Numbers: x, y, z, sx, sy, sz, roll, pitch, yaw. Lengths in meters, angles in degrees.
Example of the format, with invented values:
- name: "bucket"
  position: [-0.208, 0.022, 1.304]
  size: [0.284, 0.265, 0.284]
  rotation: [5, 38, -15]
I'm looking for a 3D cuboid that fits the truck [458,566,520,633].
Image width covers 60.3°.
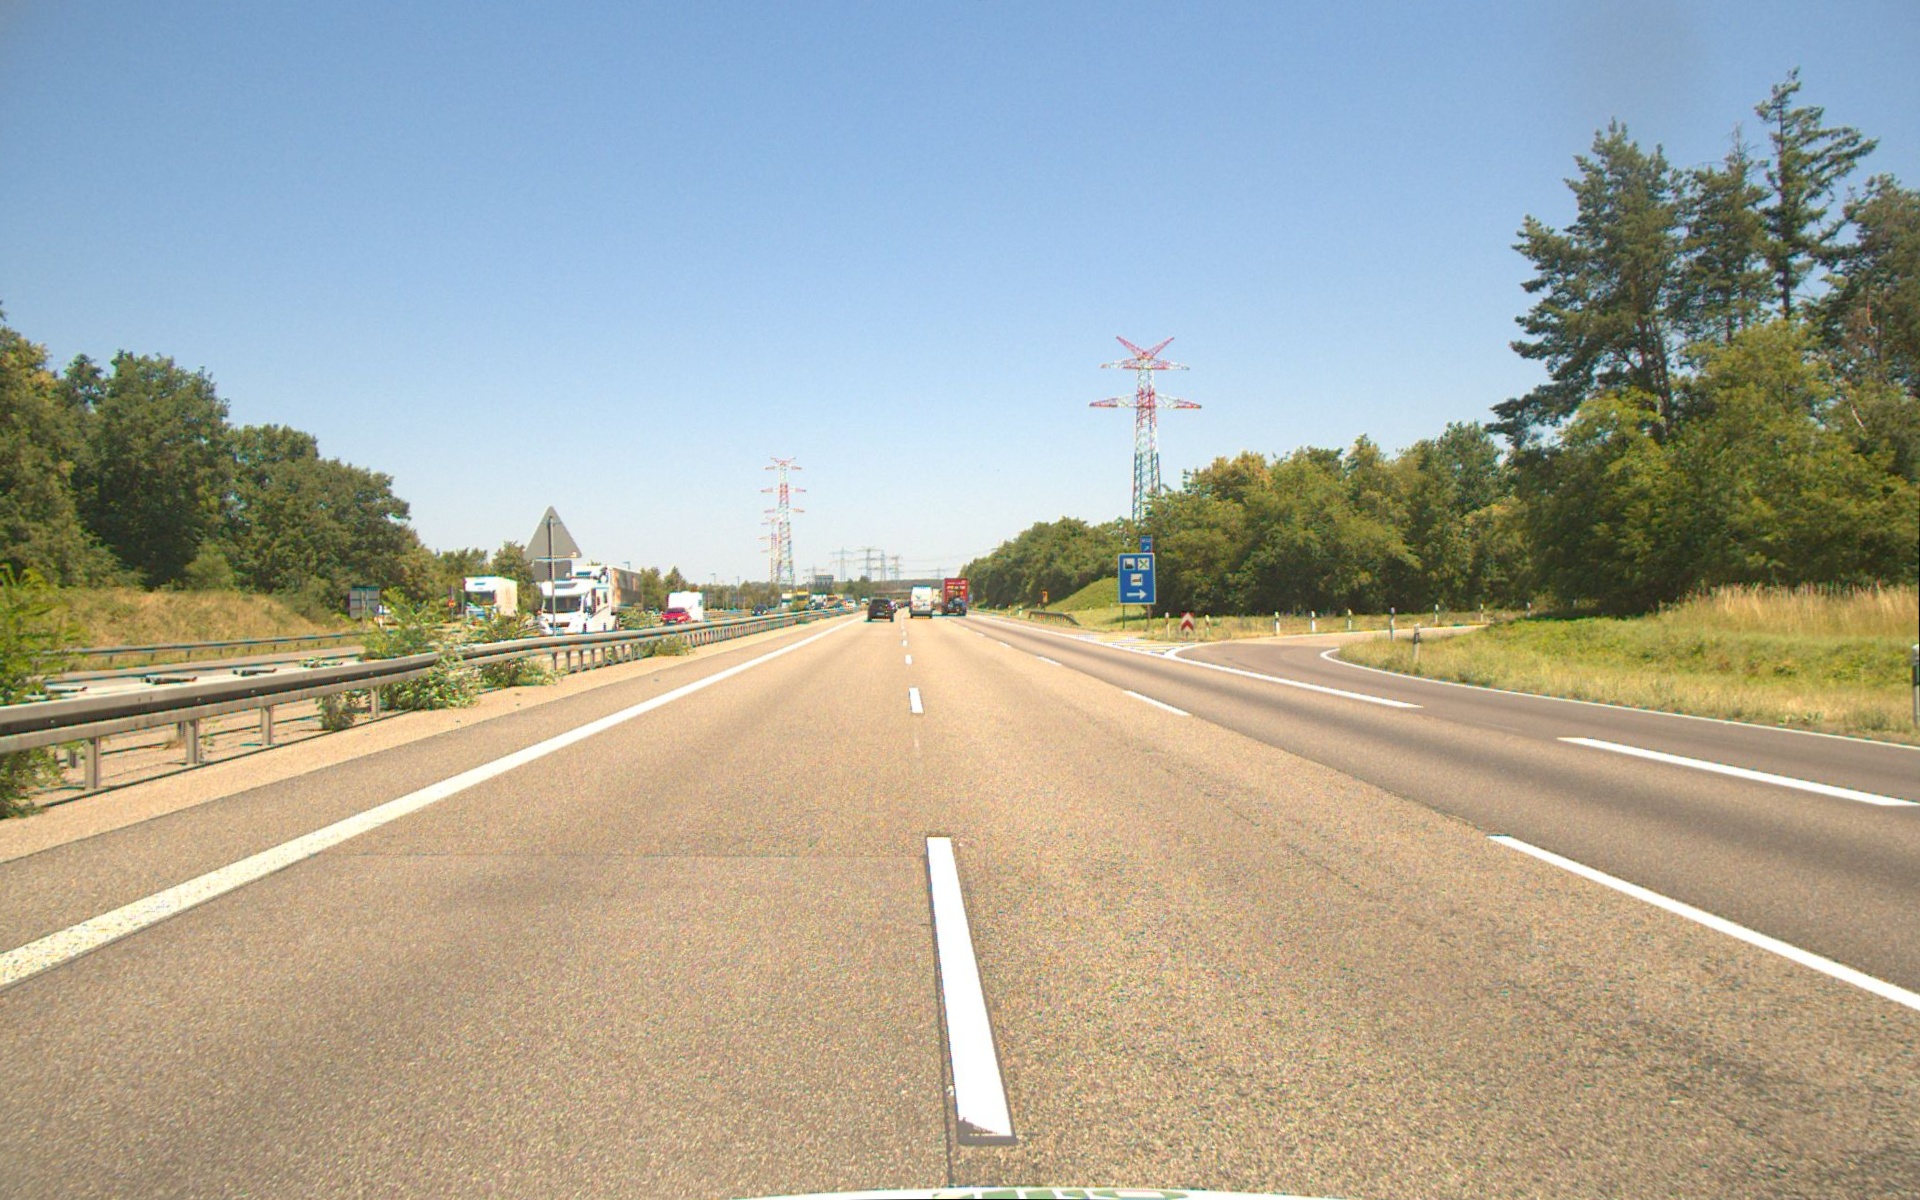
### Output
- name: "truck"
  position: [-37.175, -0.079, 130.763]
  size: [3.011, 4.911, 7.708]
  rotation: [-3, 1, -5]

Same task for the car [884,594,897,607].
- name: "car"
  position: [-8.956, 0.092, 213.064]
  size: [1.712, 1.662, 4.002]
  rotation: [1, 0, -2]

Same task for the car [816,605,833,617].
- name: "car"
  position: [-18.811, 1.497, 229.530]
  size: [2.011, 1.578, 4.888]
  rotation: [-3, 0, -2]

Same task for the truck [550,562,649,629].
- name: "truck"
  position: [-23.545, -0.281, 109.248]
  size: [3.259, 4.066, 16.860]
  rotation: [-1, 0, -2]

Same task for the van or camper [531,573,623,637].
- name: "van or camper"
  position: [-18.098, 0.220, 78.660]
  size: [2.451, 2.859, 8.559]
  rotation: [-1, 0, -1]

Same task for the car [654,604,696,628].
- name: "car"
  position: [-19.354, 1.065, 112.443]
  size: [2.183, 1.404, 4.690]
  rotation: [-3, 0, -2]

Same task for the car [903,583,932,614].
- name: "car"
  position: [-3.907, -0.150, 151.075]
  size: [2.568, 2.807, 6.094]
  rotation: [1, 0, -2]

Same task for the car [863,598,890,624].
- name: "car"
  position: [-6.158, 0.799, 122.473]
  size: [1.953, 1.780, 3.998]
  rotation: [1, 0, -2]

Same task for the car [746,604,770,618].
- name: "car"
  position: [-22.258, 1.233, 182.123]
  size: [2.183, 1.404, 4.888]
  rotation: [-3, 0, -2]

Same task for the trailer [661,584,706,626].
- name: "trailer"
  position: [-19.561, 0.314, 117.329]
  size: [2.427, 2.795, 5.072]
  rotation: [-3, 0, -2]

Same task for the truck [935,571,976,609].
- name: "truck"
  position: [-0.598, -1.140, 186.587]
  size: [4.244, 4.010, 16.072]
  rotation: [1, 0, -2]
